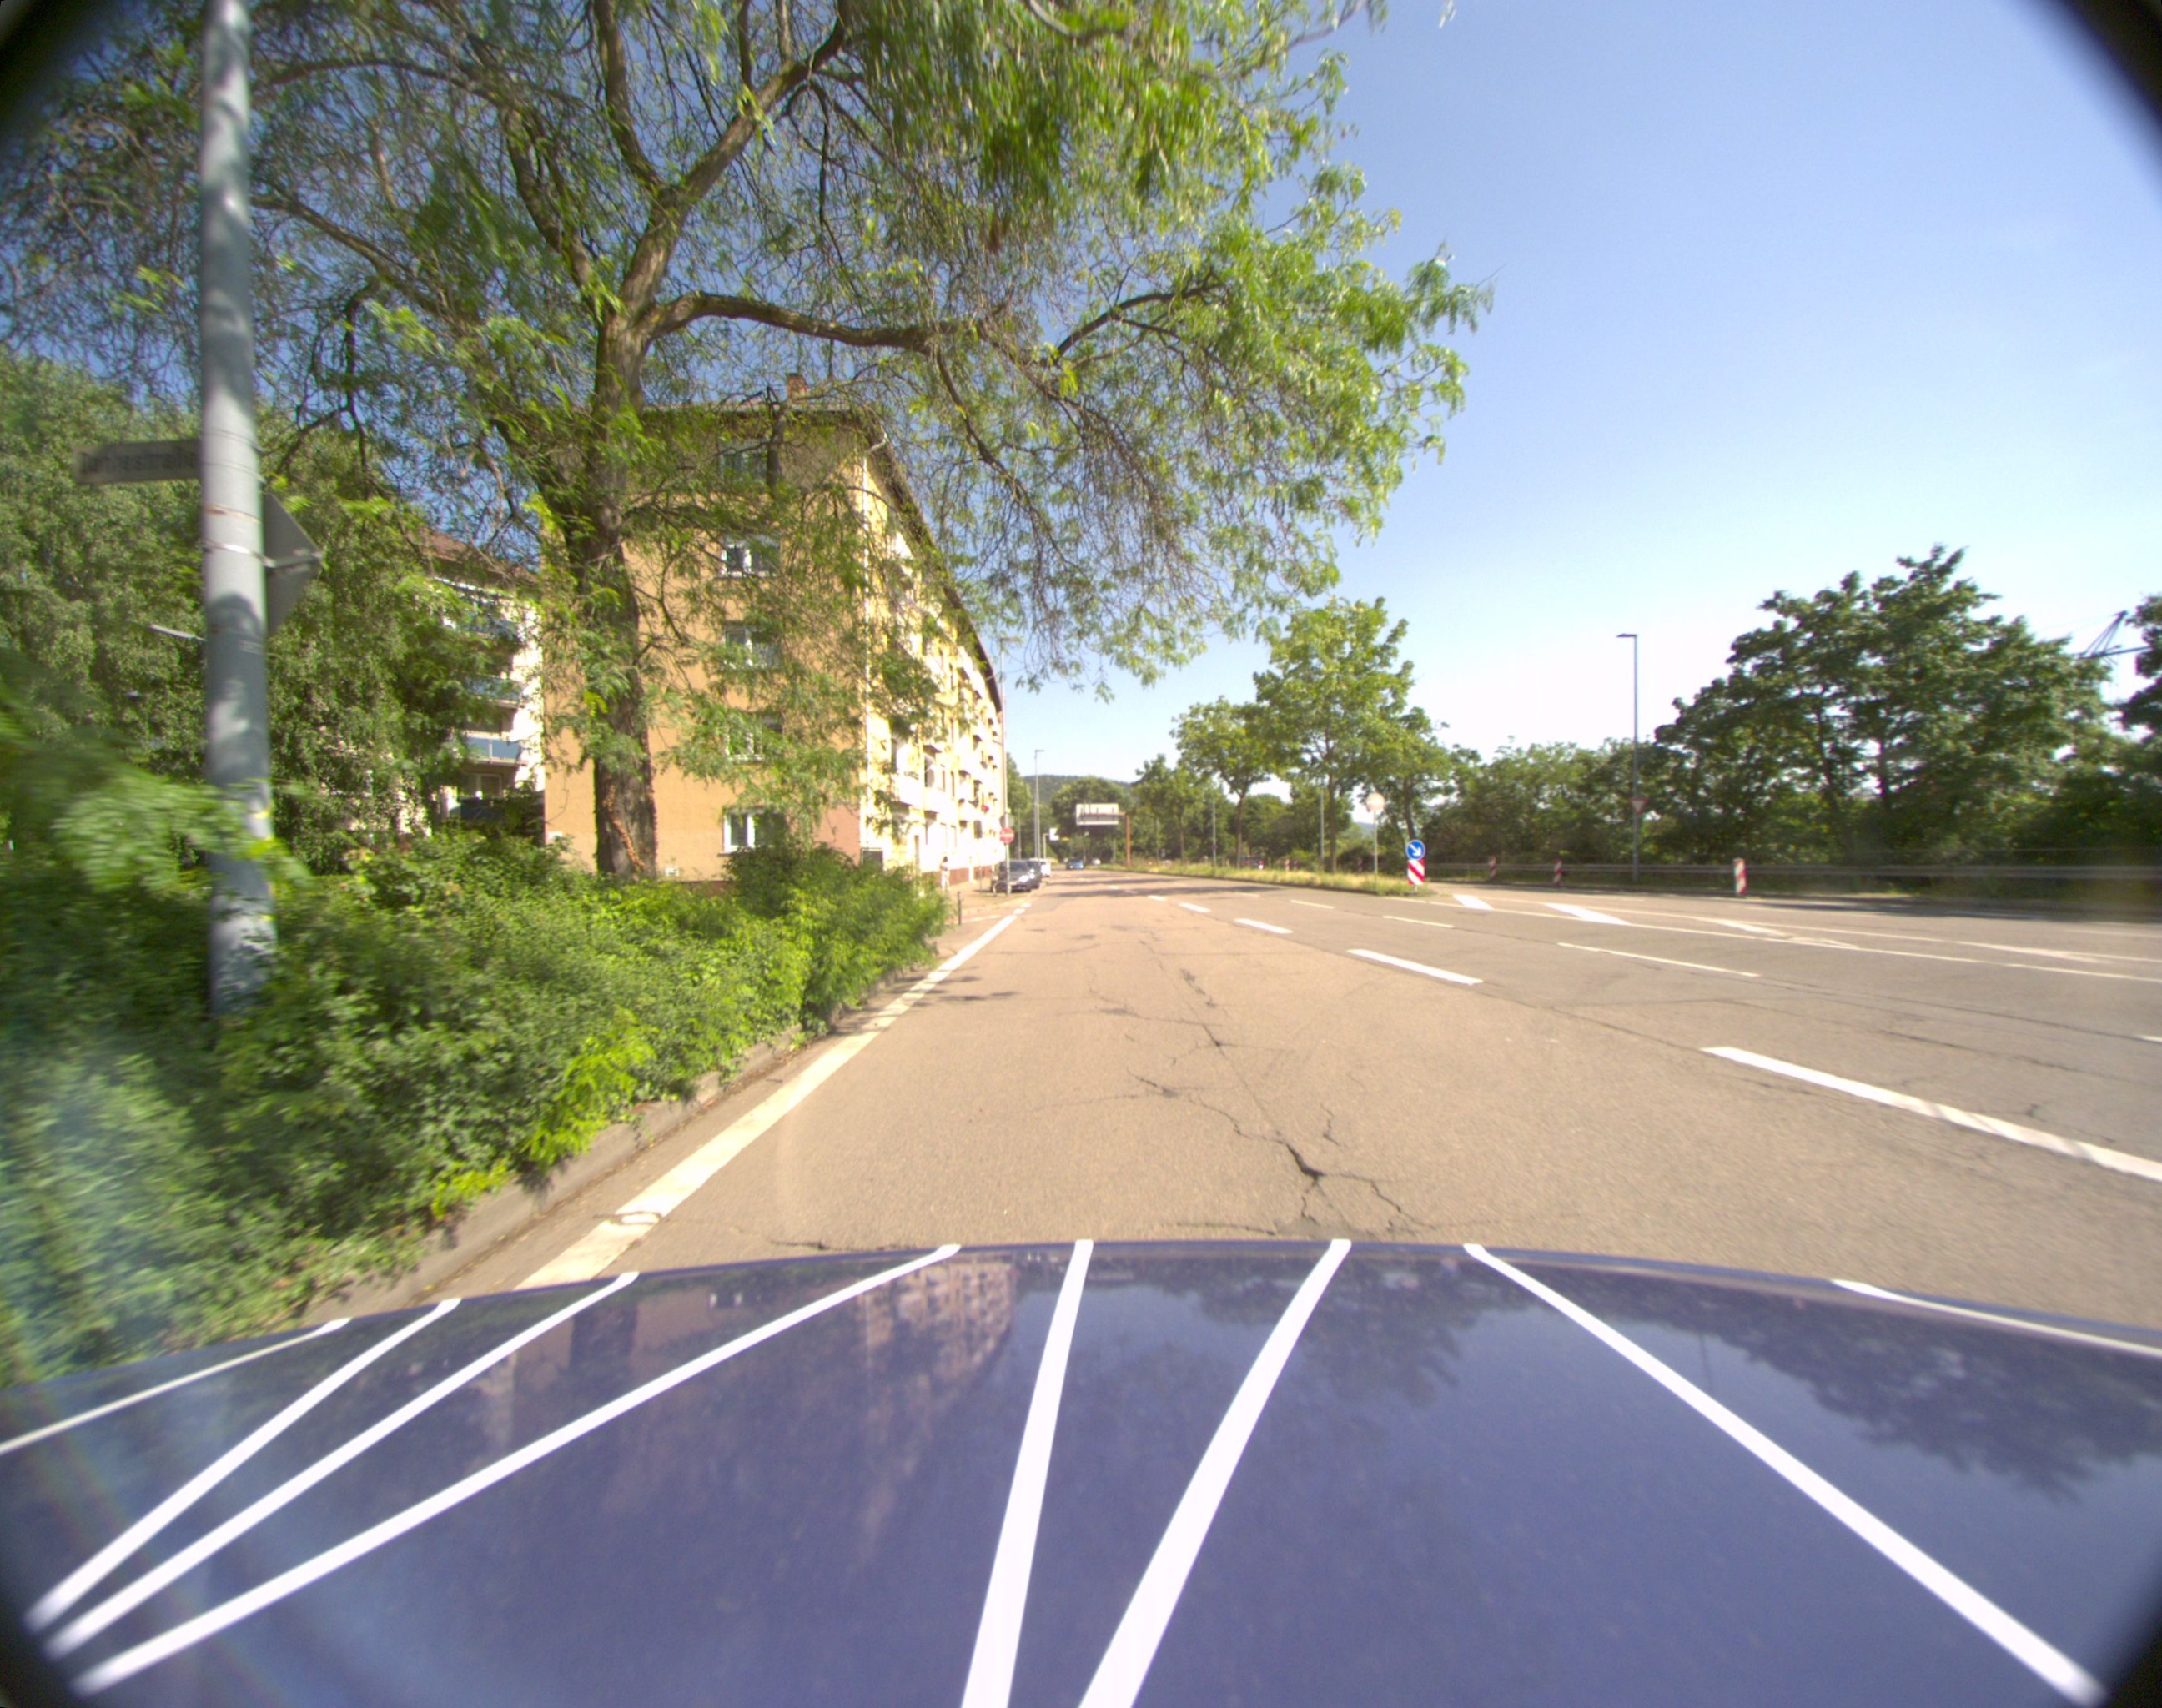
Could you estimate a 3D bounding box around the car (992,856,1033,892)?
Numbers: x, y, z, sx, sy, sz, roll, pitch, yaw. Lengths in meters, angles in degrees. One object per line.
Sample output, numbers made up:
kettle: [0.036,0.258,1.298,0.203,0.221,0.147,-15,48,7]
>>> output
car: [-3.007,0.869,34.093,1.708,1.505,4.091,1,-1,-4]

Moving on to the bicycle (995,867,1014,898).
bicycle: [-2.984,1.096,29.570,0.704,1.117,1.744,-1,0,-5]

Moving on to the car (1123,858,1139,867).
car: [8.193,1.357,124.761,1.803,1.521,3.998,-1,0,-6]

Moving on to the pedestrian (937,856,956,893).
pedestrian: [-5.941,0.880,33.569,0.657,1.600,0.824,-1,1,1]

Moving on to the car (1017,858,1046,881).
car: [-3.255,1.000,49.992,1.805,1.429,4.588,0,0,-4]

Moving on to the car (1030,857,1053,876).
car: [-3.318,1.022,63.246,1.761,1.497,4.126,-2,0,-3]

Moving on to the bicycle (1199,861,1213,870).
bicycle: [12.444,1.144,75.942,0.695,0.900,2.340,-1,0,-9]

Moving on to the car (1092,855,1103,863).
car: [3.397,0.990,153.311,1.650,1.408,3.968,-1,0,-7]

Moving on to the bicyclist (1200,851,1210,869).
bicyclist: [12.408,0.622,76.147,0.699,1.821,1.016,-1,1,-9]

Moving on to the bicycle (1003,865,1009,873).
bicycle: [-9.396,1.933,95.256,0.652,0.964,1.863,0,0,-6]

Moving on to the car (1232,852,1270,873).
car: [14.840,0.715,66.557,1.999,1.723,4.728,-1,0,-4]

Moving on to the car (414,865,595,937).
car: [-14.884,1.152,19.911,1.659,1.631,3.786,-1,0,4]

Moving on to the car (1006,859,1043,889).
car: [-2.842,0.988,38.841,1.715,1.453,4.255,-1,0,-2]

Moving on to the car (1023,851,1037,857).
car: [-13.530,0.057,201.411,2.003,1.519,4.687,1,0,-29]

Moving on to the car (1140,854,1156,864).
car: [9.921,0.785,113.267,1.768,1.465,4.083,-1,0,-3]
